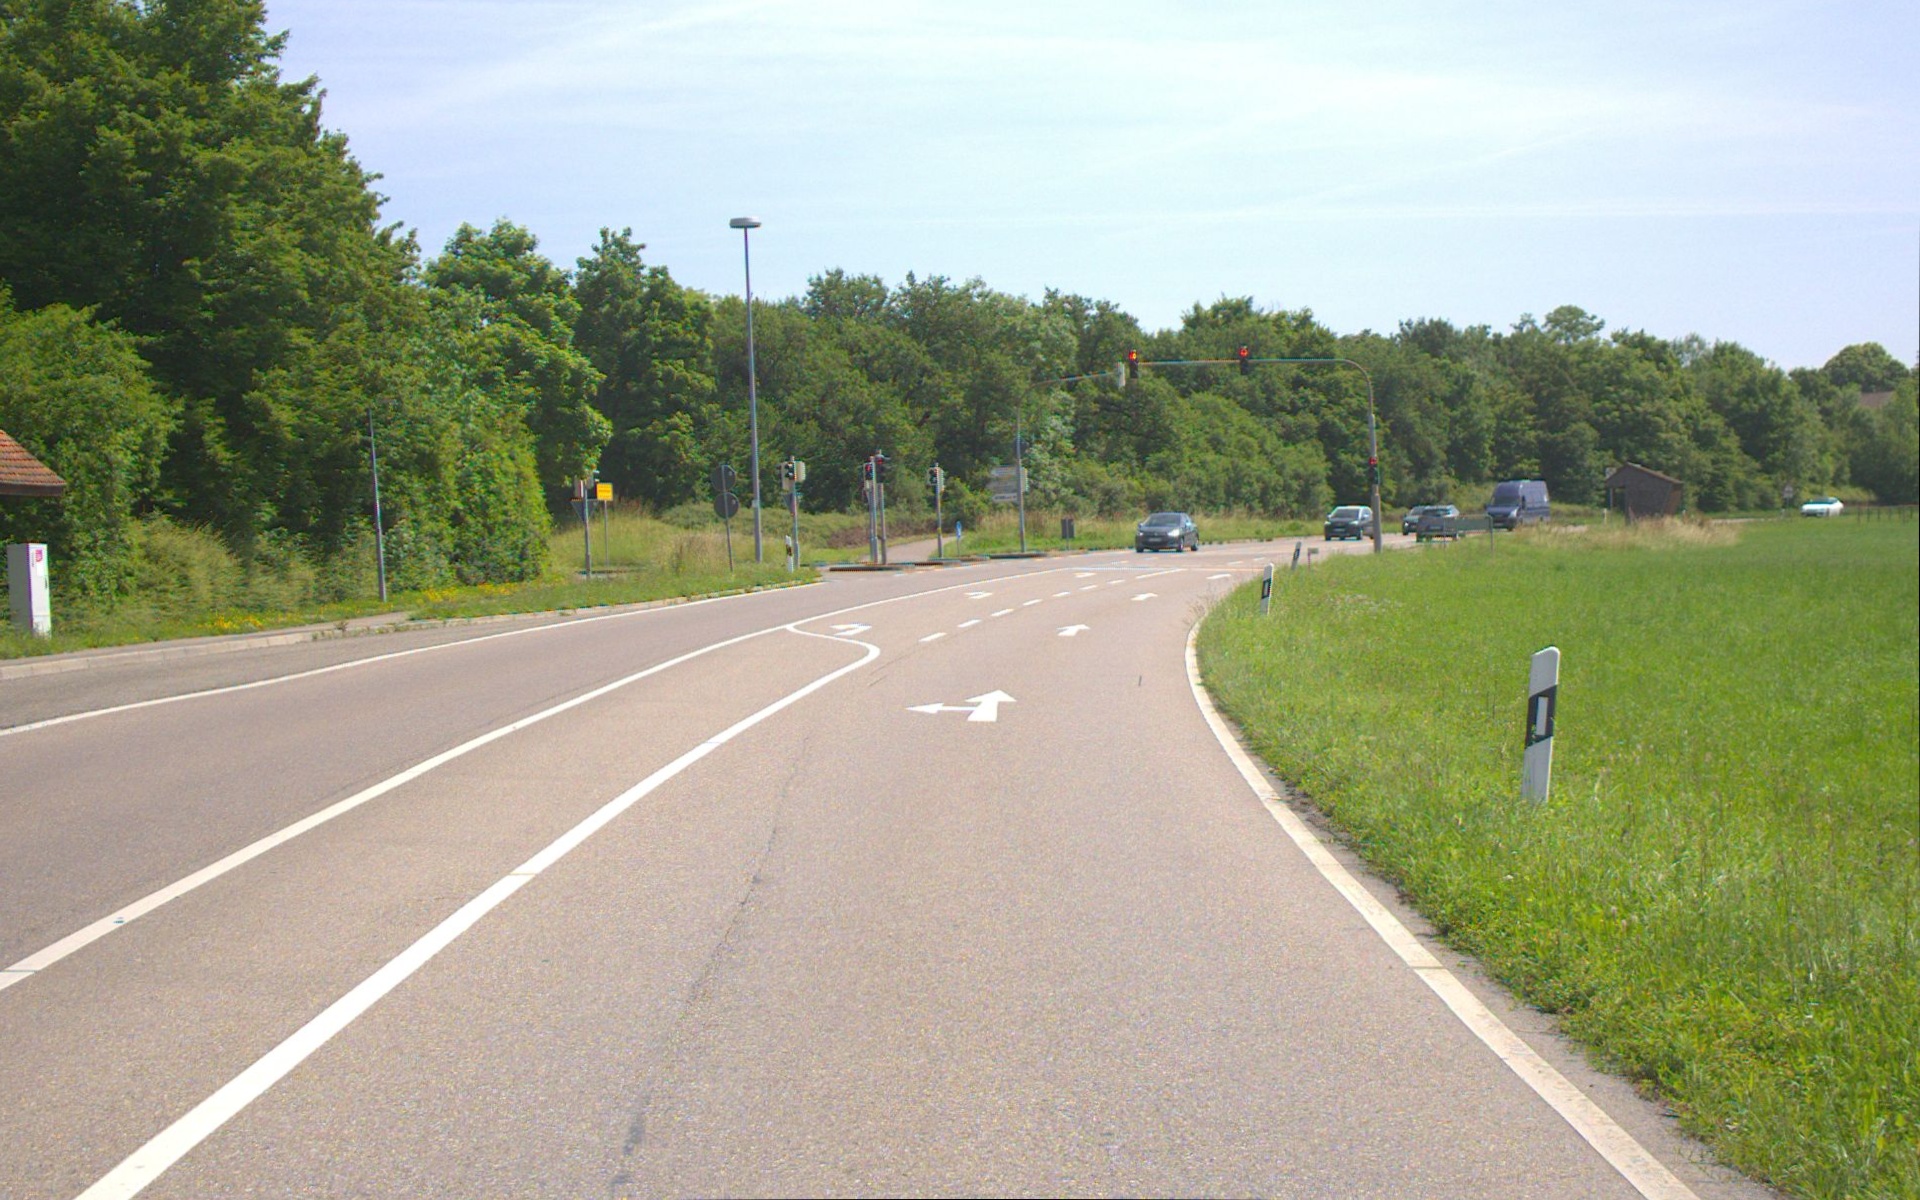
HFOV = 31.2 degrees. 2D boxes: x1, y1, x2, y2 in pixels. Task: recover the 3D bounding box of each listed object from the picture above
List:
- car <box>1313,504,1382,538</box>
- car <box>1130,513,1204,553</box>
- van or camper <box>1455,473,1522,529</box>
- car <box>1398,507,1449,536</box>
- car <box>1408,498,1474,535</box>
[{"bbox_3d":[18.105,-3.690,160.463,1.977,1.557,4.184,0,1,25],"label":"car"},{"bbox_3d":[7.864,-2.555,130.266,1.793,1.469,4.307,0,1,18],"label":"car"},{"bbox_3d":[29.845,-5.608,193.951,2.242,2.903,7.240,0,3,20],"label":"van or camper"},{"bbox_3d":[23.935,-4.045,177.513,1.708,1.478,3.828,0,1,22],"label":"car"},{"bbox_3d":[20.974,-3.620,149.809,1.996,1.568,3.996,0,1,21],"label":"car"}]
